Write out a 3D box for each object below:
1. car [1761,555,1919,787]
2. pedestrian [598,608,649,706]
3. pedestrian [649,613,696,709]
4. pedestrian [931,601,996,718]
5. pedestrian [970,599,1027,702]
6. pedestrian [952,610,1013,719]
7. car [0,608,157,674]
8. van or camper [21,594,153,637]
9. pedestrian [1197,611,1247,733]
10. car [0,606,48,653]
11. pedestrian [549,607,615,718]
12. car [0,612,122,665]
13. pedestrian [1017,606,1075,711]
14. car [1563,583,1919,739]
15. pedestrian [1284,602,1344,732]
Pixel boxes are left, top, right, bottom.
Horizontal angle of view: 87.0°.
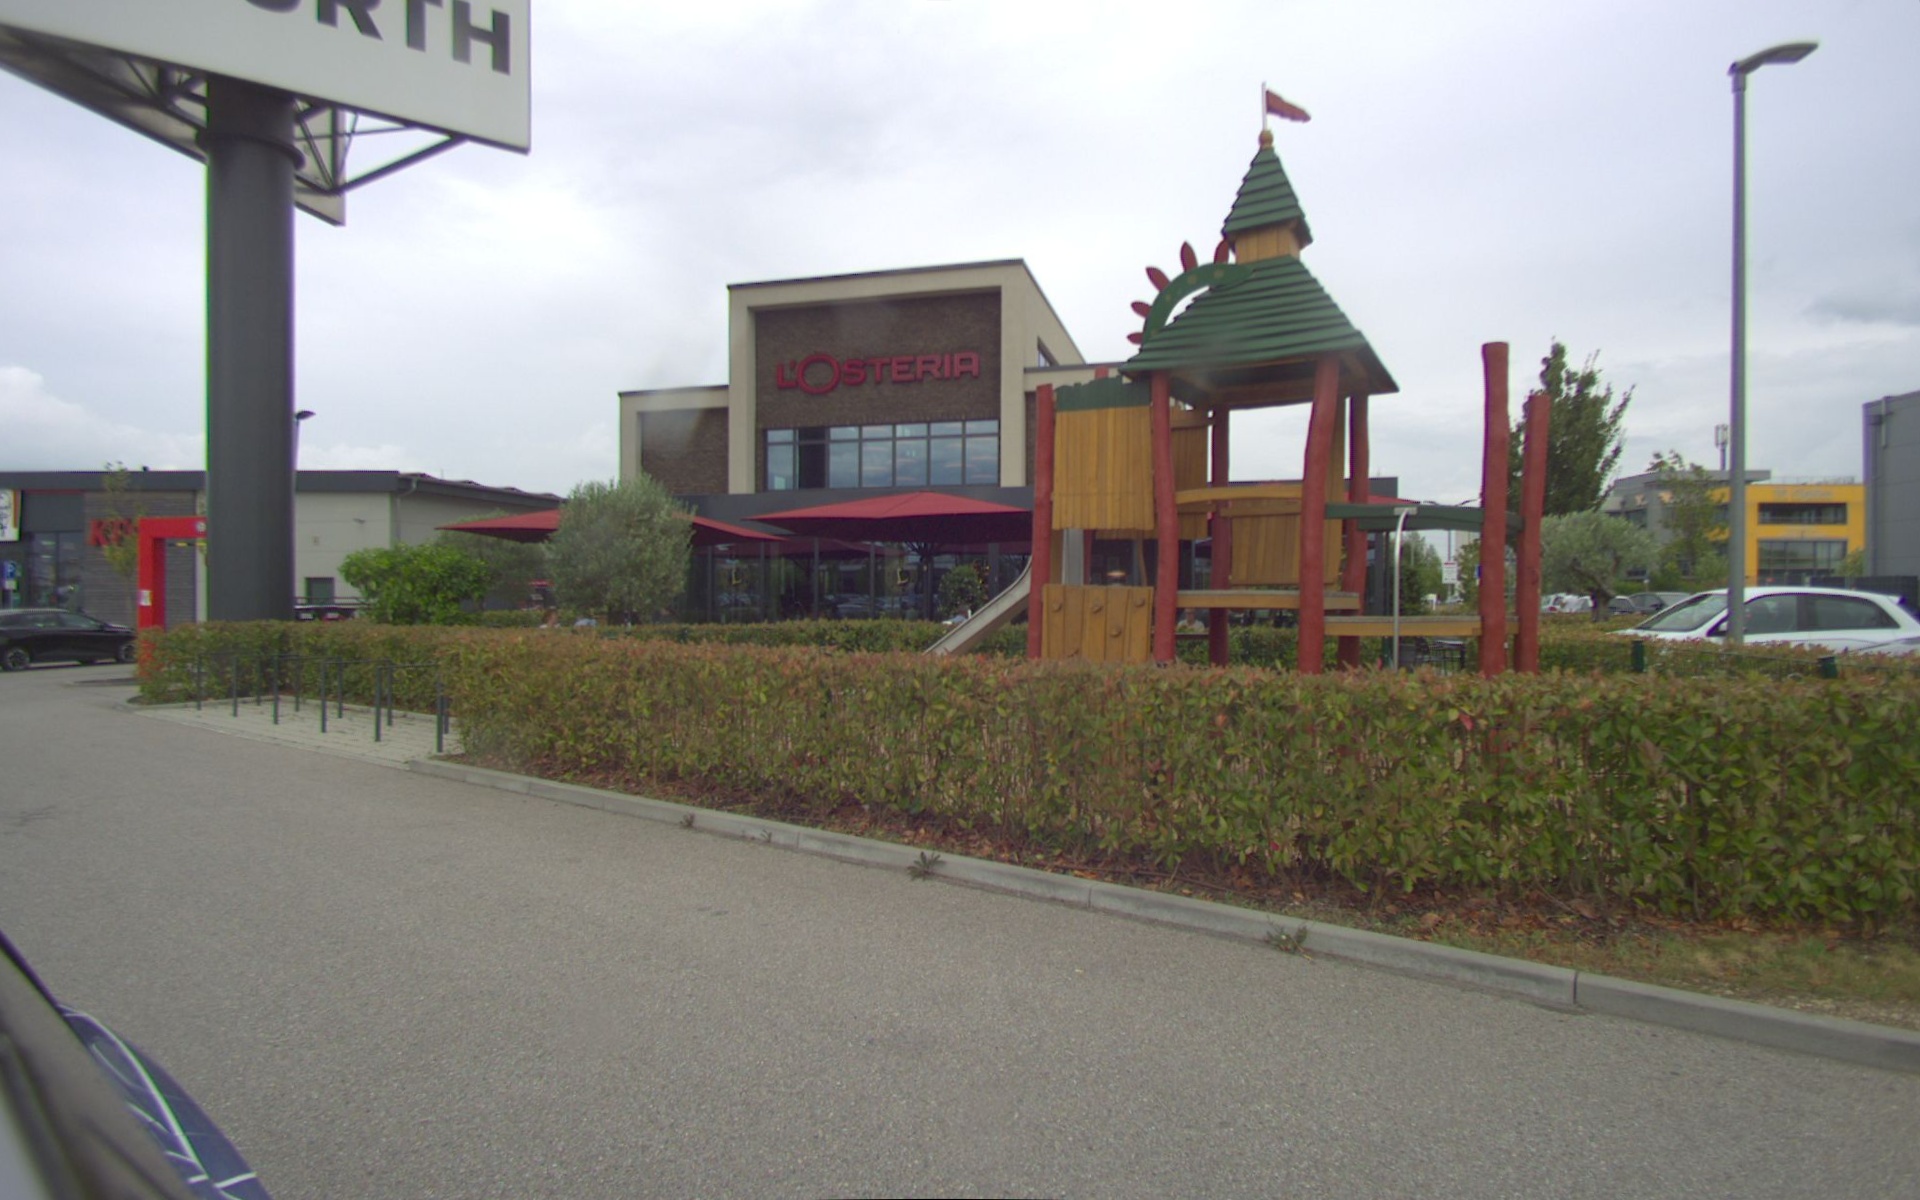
[{"bbox_3d":[9.223,0.543,7.637,4.525,1.663,1.994,0,-2,9],"label":"car"},{"bbox_3d":[-6.136,1.031,18.493,0.693,1.761,0.743,1,-2,-4],"label":"pedestrian"},{"bbox_3d":[-5.439,1.142,19.157,0.693,1.761,0.743,1,-2,-4],"label":"pedestrian"},{"bbox_3d":[0.053,0.915,15.775,0.703,1.761,0.733,-1,-2,39],"label":"pedestrian"},{"bbox_3d":[0.686,0.885,17.880,0.703,1.761,0.733,-1,-2,39],"label":"pedestrian"},{"bbox_3d":[0.378,1.065,16.890,0.703,1.761,0.733,-1,-2,39],"label":"pedestrian"},{"bbox_3d":[-23.645,1.007,26.336,1.726,1.540,4.102,0,1,16],"label":"car"},{"bbox_3d":[-59.482,1.048,69.164,6.460,2.721,2.179,-1,-1,-26],"label":"van or camper"},{"bbox_3d":[3.926,1.060,15.200,0.697,1.761,0.740,0,-2,13],"label":"pedestrian"},{"bbox_3d":[-32.410,1.003,32.790,1.743,1.498,3.919,-1,1,16],"label":"car"},{"bbox_3d":[-6.184,1.000,16.563,0.741,1.761,0.695,-1,-2,35],"label":"pedestrian"},{"bbox_3d":[-27.914,1.129,30.150,1.982,1.497,4.157,-1,-1,16],"label":"car"},{"bbox_3d":[1.484,0.991,17.416,0.703,1.761,0.733,-1,-2,39],"label":"pedestrian"},{"bbox_3d":[9.962,0.677,11.852,4.525,1.663,1.994,0,-2,9],"label":"car"},{"bbox_3d":[4.940,0.921,14.157,0.697,1.761,0.740,0,-2,13],"label":"pedestrian"}]
